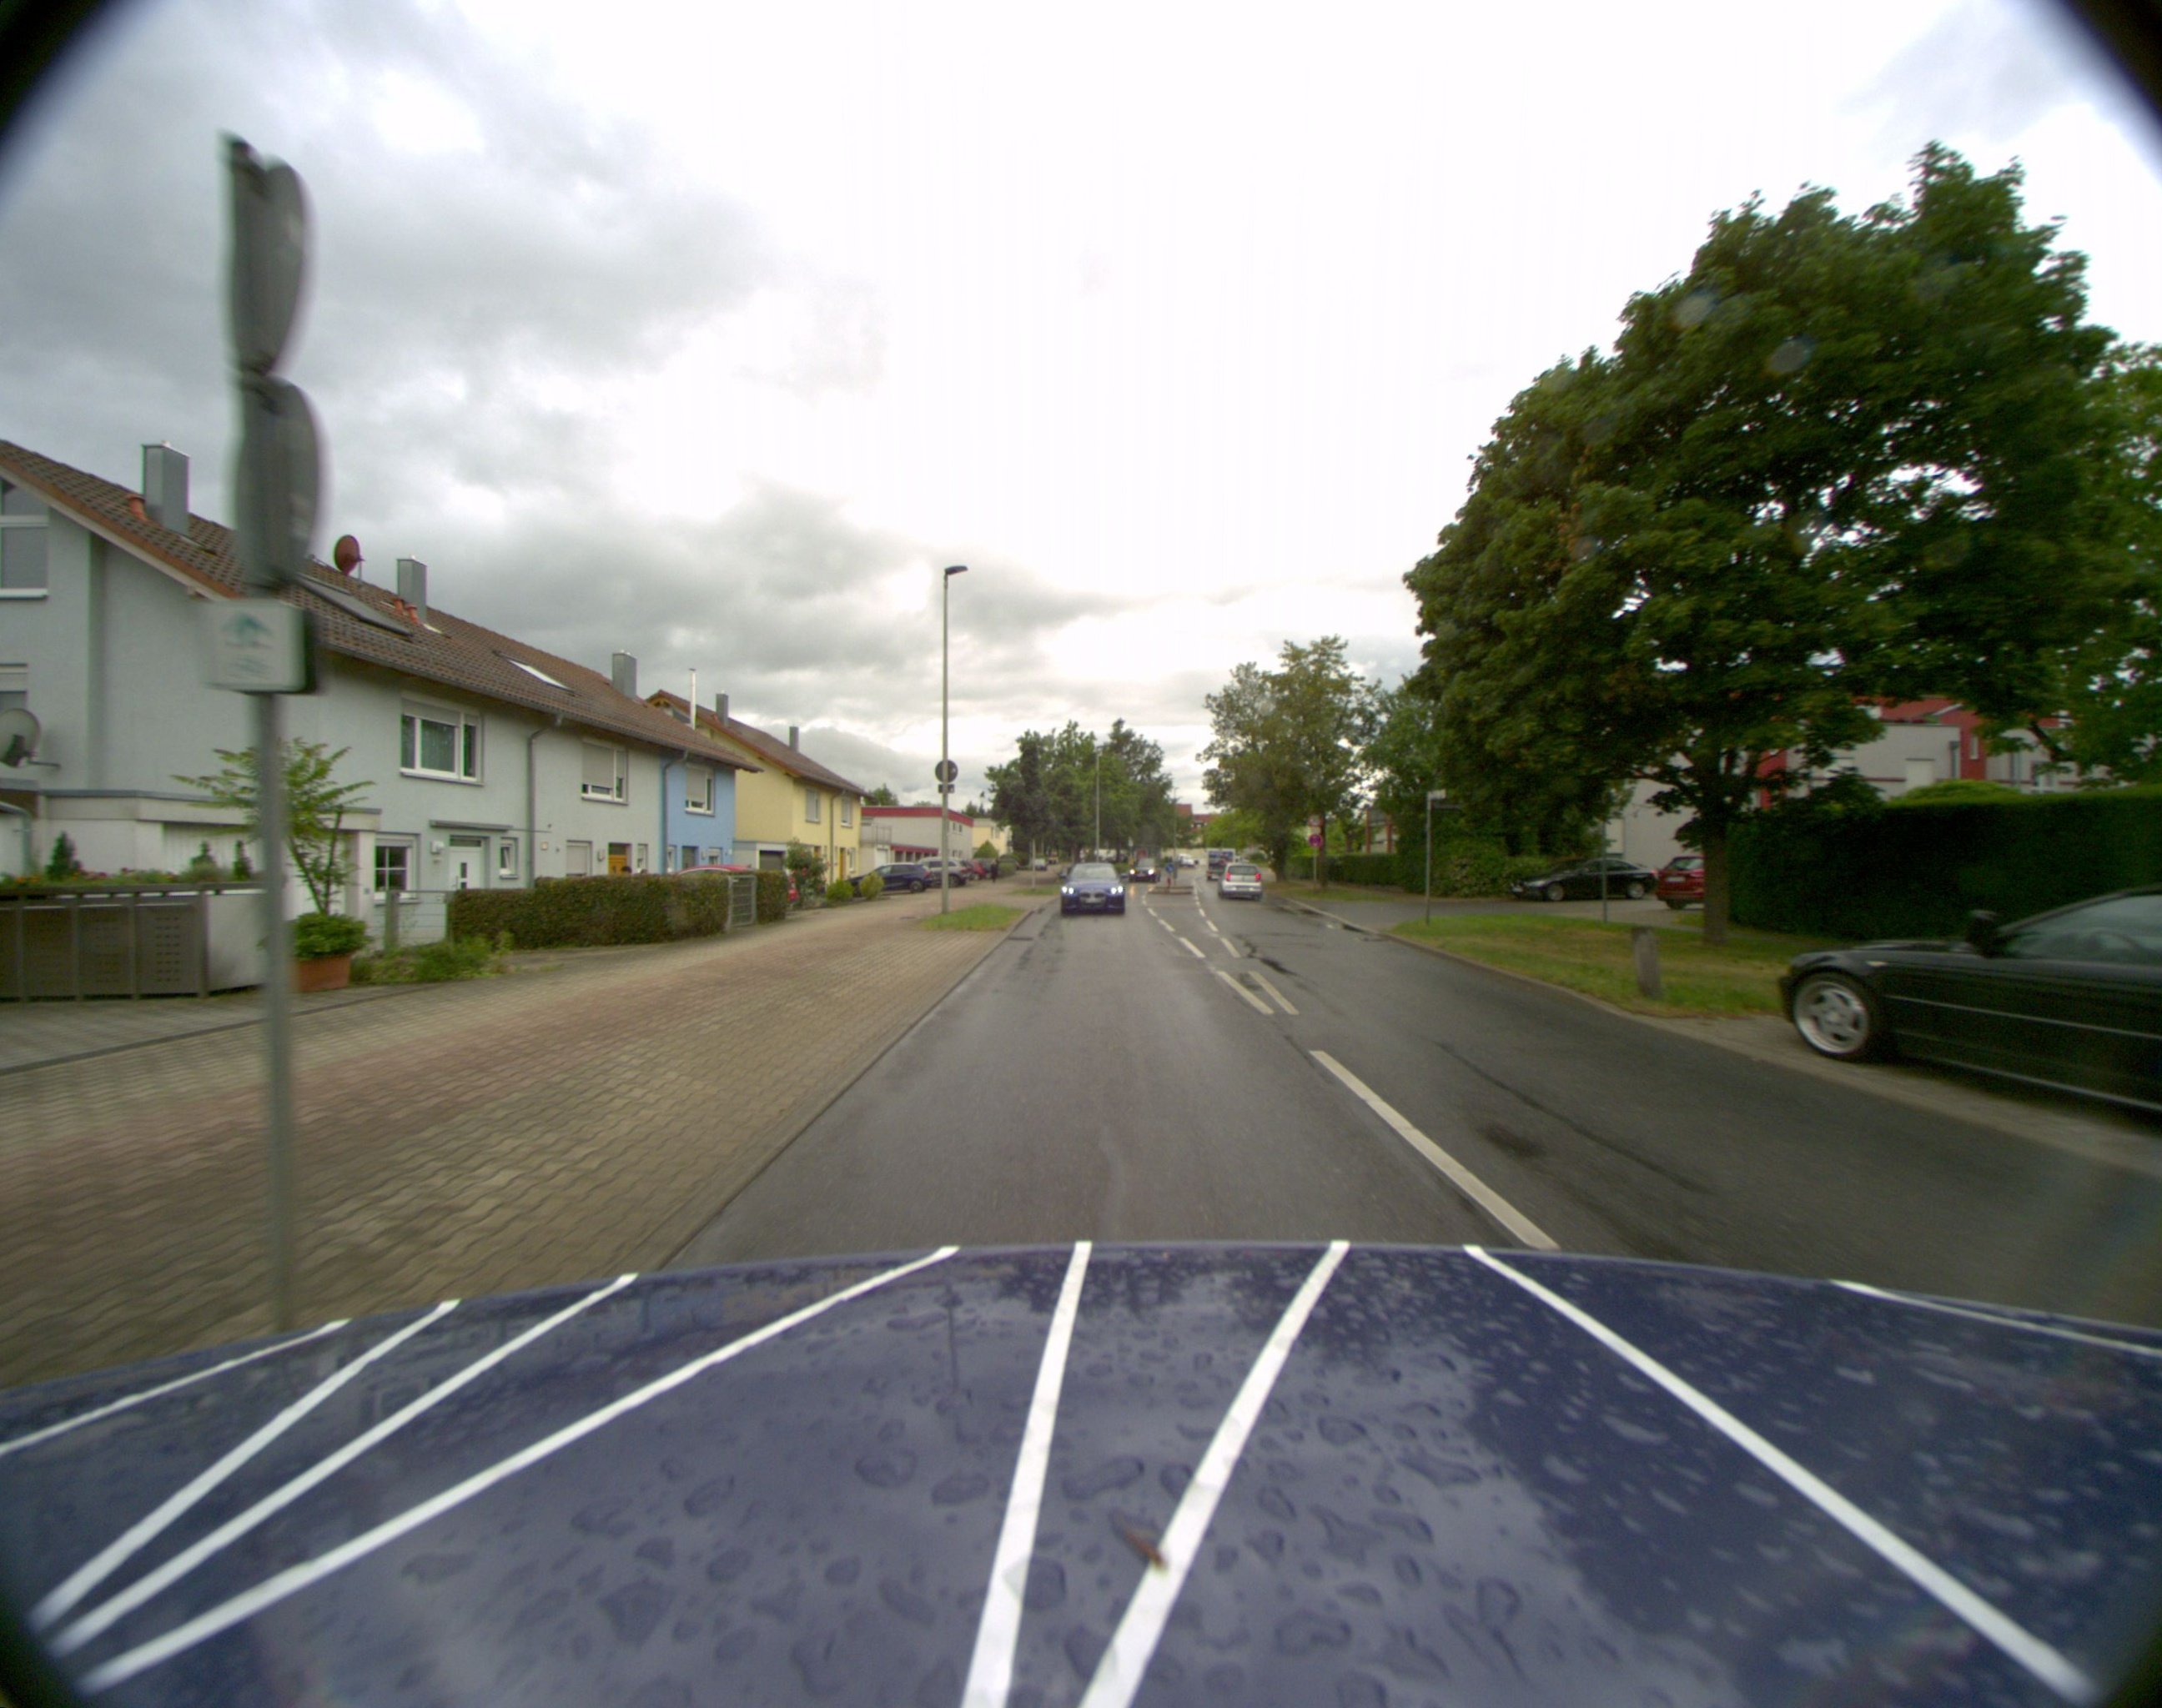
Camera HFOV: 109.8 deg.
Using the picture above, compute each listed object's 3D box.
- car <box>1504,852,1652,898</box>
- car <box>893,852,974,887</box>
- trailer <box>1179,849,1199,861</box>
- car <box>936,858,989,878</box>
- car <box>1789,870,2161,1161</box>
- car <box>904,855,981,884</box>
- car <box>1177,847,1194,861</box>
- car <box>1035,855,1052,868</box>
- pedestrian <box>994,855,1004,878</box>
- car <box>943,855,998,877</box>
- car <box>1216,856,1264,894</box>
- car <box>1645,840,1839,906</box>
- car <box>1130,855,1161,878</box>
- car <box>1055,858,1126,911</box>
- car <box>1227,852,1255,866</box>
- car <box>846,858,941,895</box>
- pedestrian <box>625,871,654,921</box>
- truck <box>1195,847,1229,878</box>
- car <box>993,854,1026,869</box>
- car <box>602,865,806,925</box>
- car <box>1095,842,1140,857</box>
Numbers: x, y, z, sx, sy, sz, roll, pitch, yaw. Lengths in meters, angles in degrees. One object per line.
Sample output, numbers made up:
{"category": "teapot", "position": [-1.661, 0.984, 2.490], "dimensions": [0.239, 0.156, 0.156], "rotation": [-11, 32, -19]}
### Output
{"category": "car", "position": [16.950, 0.674, 26.000], "dimensions": [4.027, 1.465, 1.693], "rotation": [0, 1, -4]}
{"category": "car", "position": [-8.129, 0.841, 42.140], "dimensions": [4.192, 1.662, 1.720], "rotation": [-3, 1, -7]}
{"category": "trailer", "position": [14.004, 0.109, 98.684], "dimensions": [1.998, 1.534, 4.426], "rotation": [0, 1, 1]}
{"category": "car", "position": [-8.807, 1.003, 56.555], "dimensions": [3.702, 1.433, 1.706], "rotation": [0, 1, -1]}
{"category": "car", "position": [6.188, 0.814, 3.798], "dimensions": [1.727, 1.400, 3.825], "rotation": [0, 0, 0]}
{"category": "car", "position": [-8.220, 0.892, 45.322], "dimensions": [4.189, 1.662, 1.991], "rotation": [0, 1, 1]}
{"category": "car", "position": [14.370, -0.001, 104.693], "dimensions": [1.998, 1.870, 4.214], "rotation": [0, 1, 5]}
{"category": "car", "position": [-4.641, 0.963, 94.741], "dimensions": [1.691, 1.501, 3.826], "rotation": [-1, 0, 2]}
{"category": "pedestrian", "position": [-5.546, 0.831, 51.310], "dimensions": [0.666, 1.549, 0.842], "rotation": [-1, 1, -5]}
{"category": "car", "position": [-8.558, 0.922, 59.140], "dimensions": [3.997, 1.711, 1.924], "rotation": [0, 1, -1]}
{"category": "car", "position": [6.490, 0.824, 31.323], "dimensions": [1.597, 1.455, 3.454], "rotation": [0, 0, 6]}
{"category": "car", "position": [18.003, 0.521, 20.782], "dimensions": [4.028, 1.642, 1.693], "rotation": [-1, -2, -7]}
{"category": "car", "position": [4.151, 0.788, 49.488], "dimensions": [1.840, 1.440, 4.000], "rotation": [-1, 0, 3]}
{"category": "car", "position": [0.285, 0.883, 23.101], "dimensions": [1.913, 1.425, 4.302], "rotation": [-2, -1, 0]}
{"category": "car", "position": [17.604, 0.554, 83.523], "dimensions": [1.837, 1.541, 4.007], "rotation": [0, 0, 29]}
{"category": "car", "position": [-8.643, 1.054, 35.268], "dimensions": [3.998, 1.379, 1.674], "rotation": [-4, -1, -4]}
{"category": "pedestrian", "position": [-12.339, 1.168, 21.240], "dimensions": [0.537, 1.343, 0.529], "rotation": [-1, 1, -13]}
{"category": "truck", "position": [9.820, 0.624, 57.288], "dimensions": [2.221, 2.191, 6.468], "rotation": [0, 0, 7]}
{"category": "car", "position": [-8.370, 0.887, 89.057], "dimensions": [3.621, 1.524, 1.762], "rotation": [2, 0, -3]}
{"category": "car", "position": [-9.378, 0.990, 19.251], "dimensions": [4.319, 1.253, 1.677], "rotation": [-2, 0, -13]}
{"category": "car", "position": [4.910, -0.646, 102.975], "dimensions": [5.824, 2.002, 2.003], "rotation": [1, 1, 25]}
